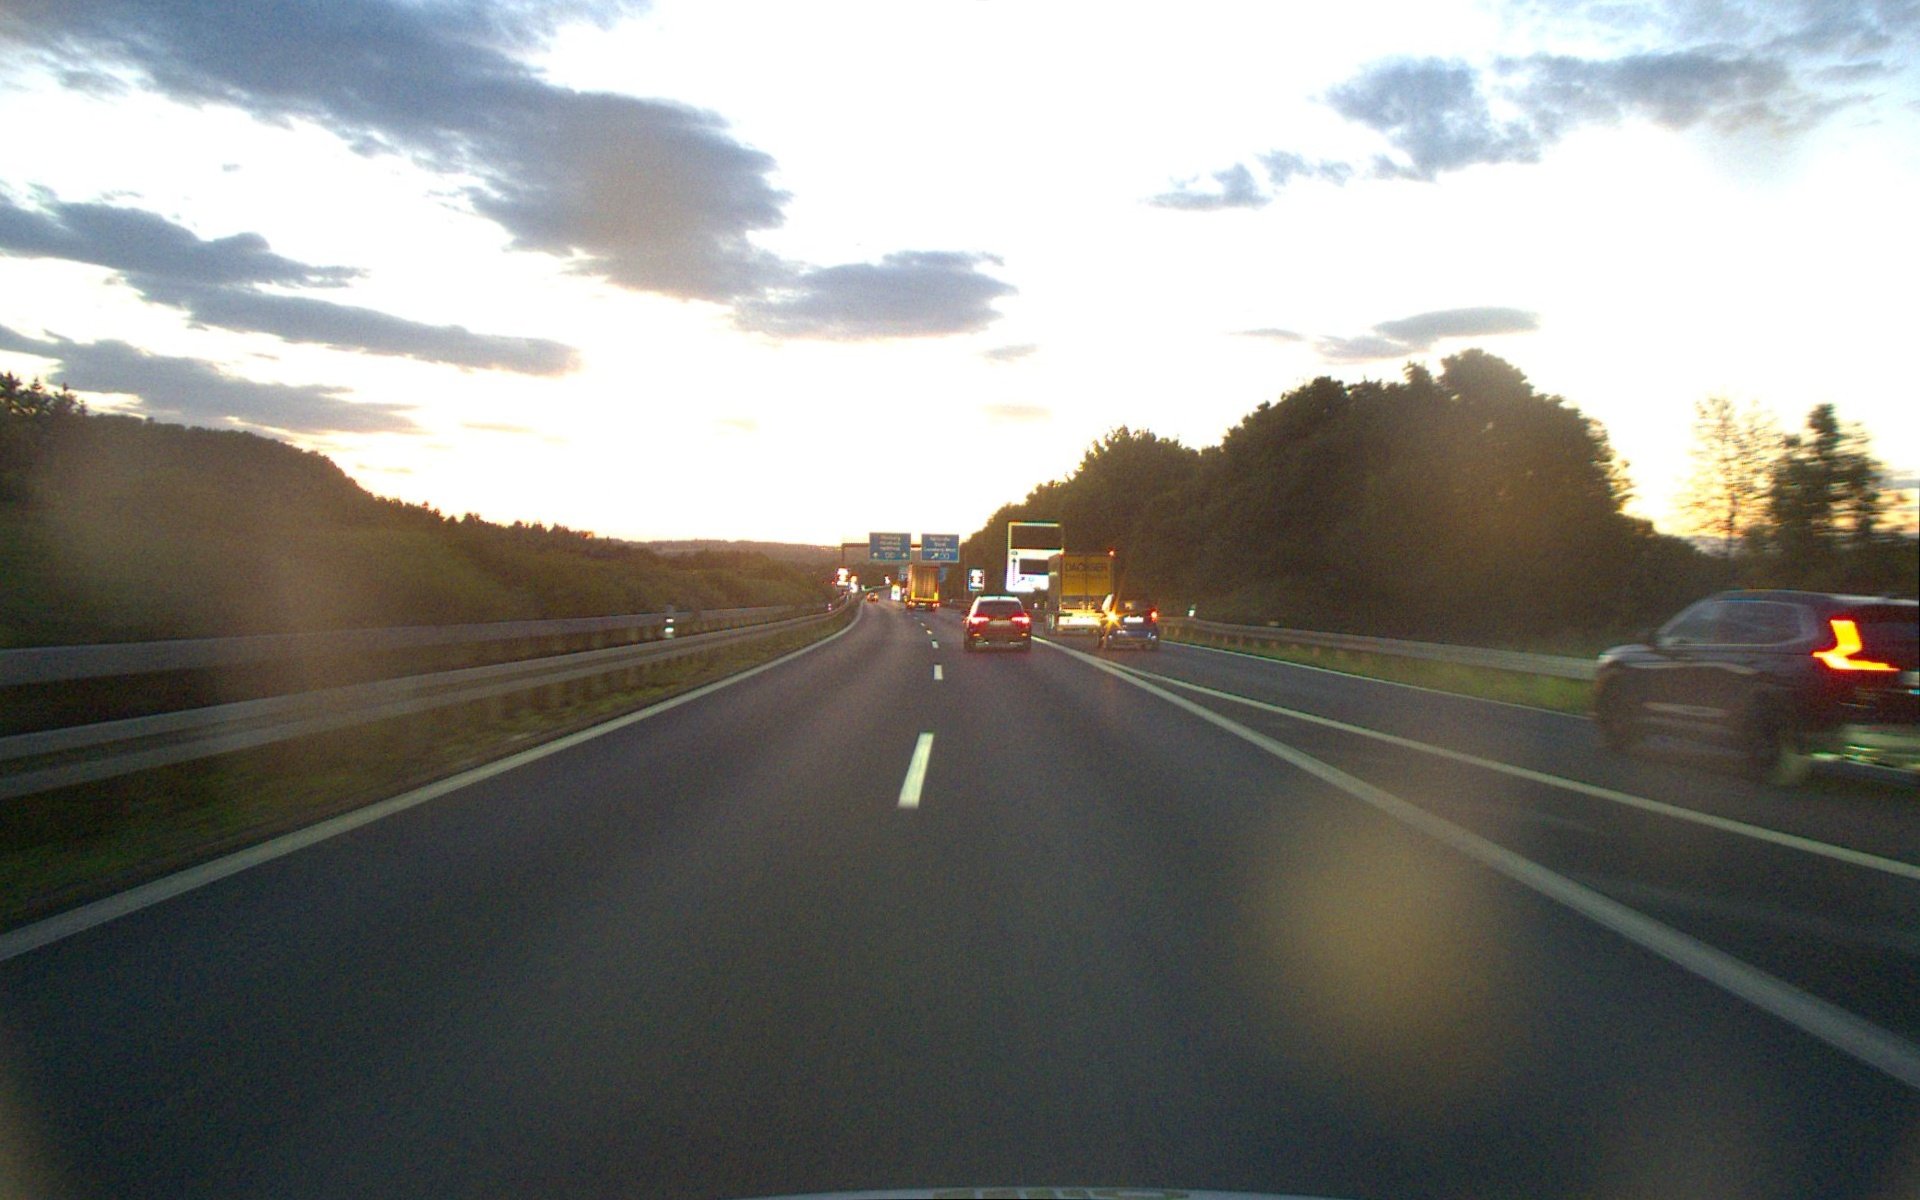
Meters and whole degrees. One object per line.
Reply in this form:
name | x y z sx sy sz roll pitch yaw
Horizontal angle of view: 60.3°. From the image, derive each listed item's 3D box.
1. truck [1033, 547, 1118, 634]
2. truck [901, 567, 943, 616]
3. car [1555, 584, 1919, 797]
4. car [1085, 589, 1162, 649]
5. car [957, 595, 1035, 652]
truck | 4.330 -0.368 63.101 2.224 3.023 6.626 3 0 -4
truck | -3.600 -0.753 154.396 3.440 4.377 9.883 1 0 -4
car | 7.681 0.750 15.821 1.763 1.674 5.156 3 0 -4
car | 4.556 0.523 46.454 1.579 1.583 3.315 1 0 -5
car | 0.958 0.636 45.847 1.877 1.467 3.998 1 0 -3
